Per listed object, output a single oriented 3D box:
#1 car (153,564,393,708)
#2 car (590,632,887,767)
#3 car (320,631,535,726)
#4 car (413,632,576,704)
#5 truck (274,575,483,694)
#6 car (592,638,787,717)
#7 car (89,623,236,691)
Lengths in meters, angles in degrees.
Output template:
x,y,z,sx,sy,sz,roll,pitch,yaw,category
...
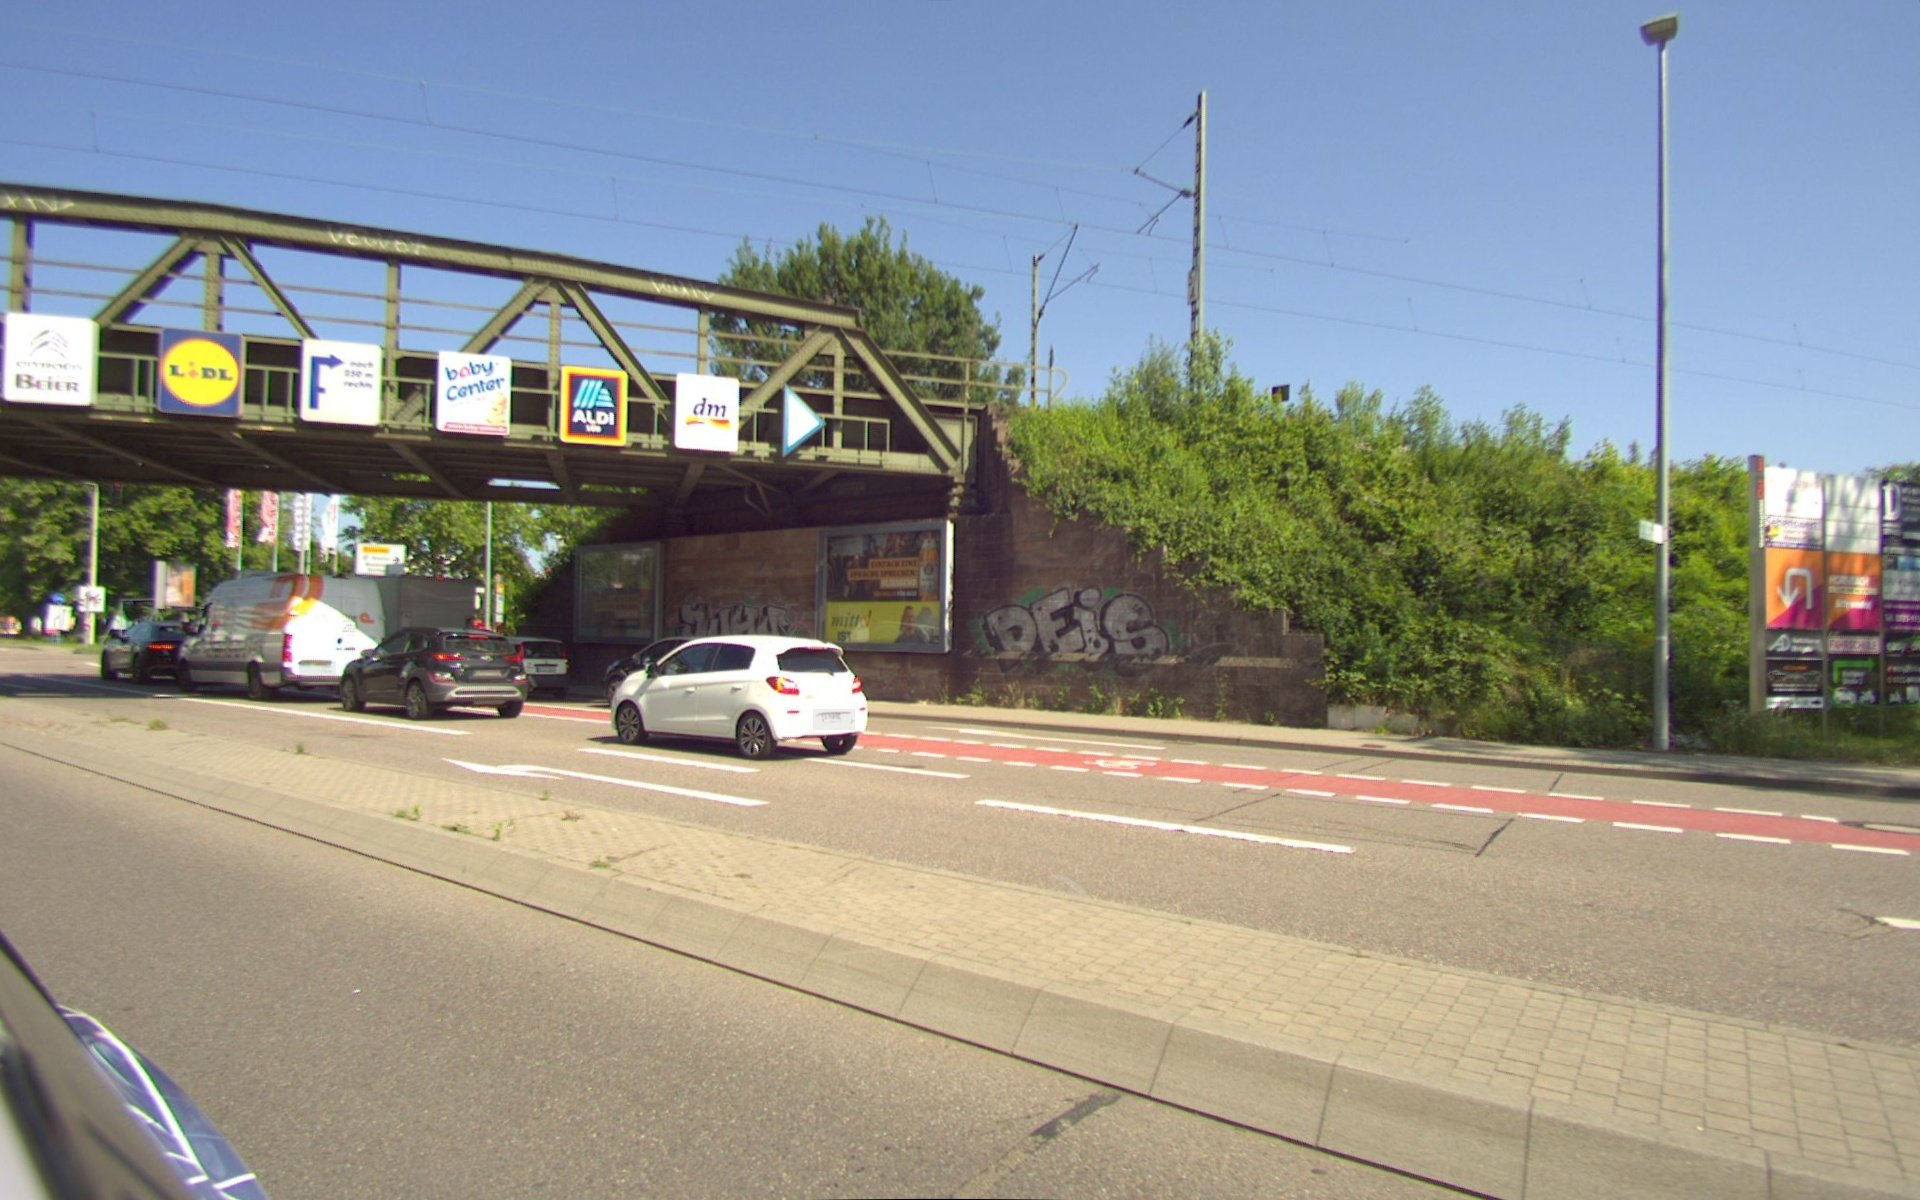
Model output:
x,y,z,sx,sy,sz,roll,pitch,yaw,category
-15.503,0.825,22.649,6.922,2.827,1.976,-1,-5,35,car
-2.938,1.228,13.143,3.821,1.506,1.628,-2,-5,36,car
-9.569,1.369,18.079,4.170,1.506,1.752,-3,-5,37,car
-11.955,1.739,25.894,4.280,1.703,1.965,-3,-5,37,car
-17.007,0.994,29.417,7.050,3.112,2.322,-1,-3,34,truck
-5.730,1.604,21.223,4.170,1.506,1.752,-3,-5,37,car
-21.794,1.505,27.589,4.942,1.694,1.975,-1,-3,38,car
